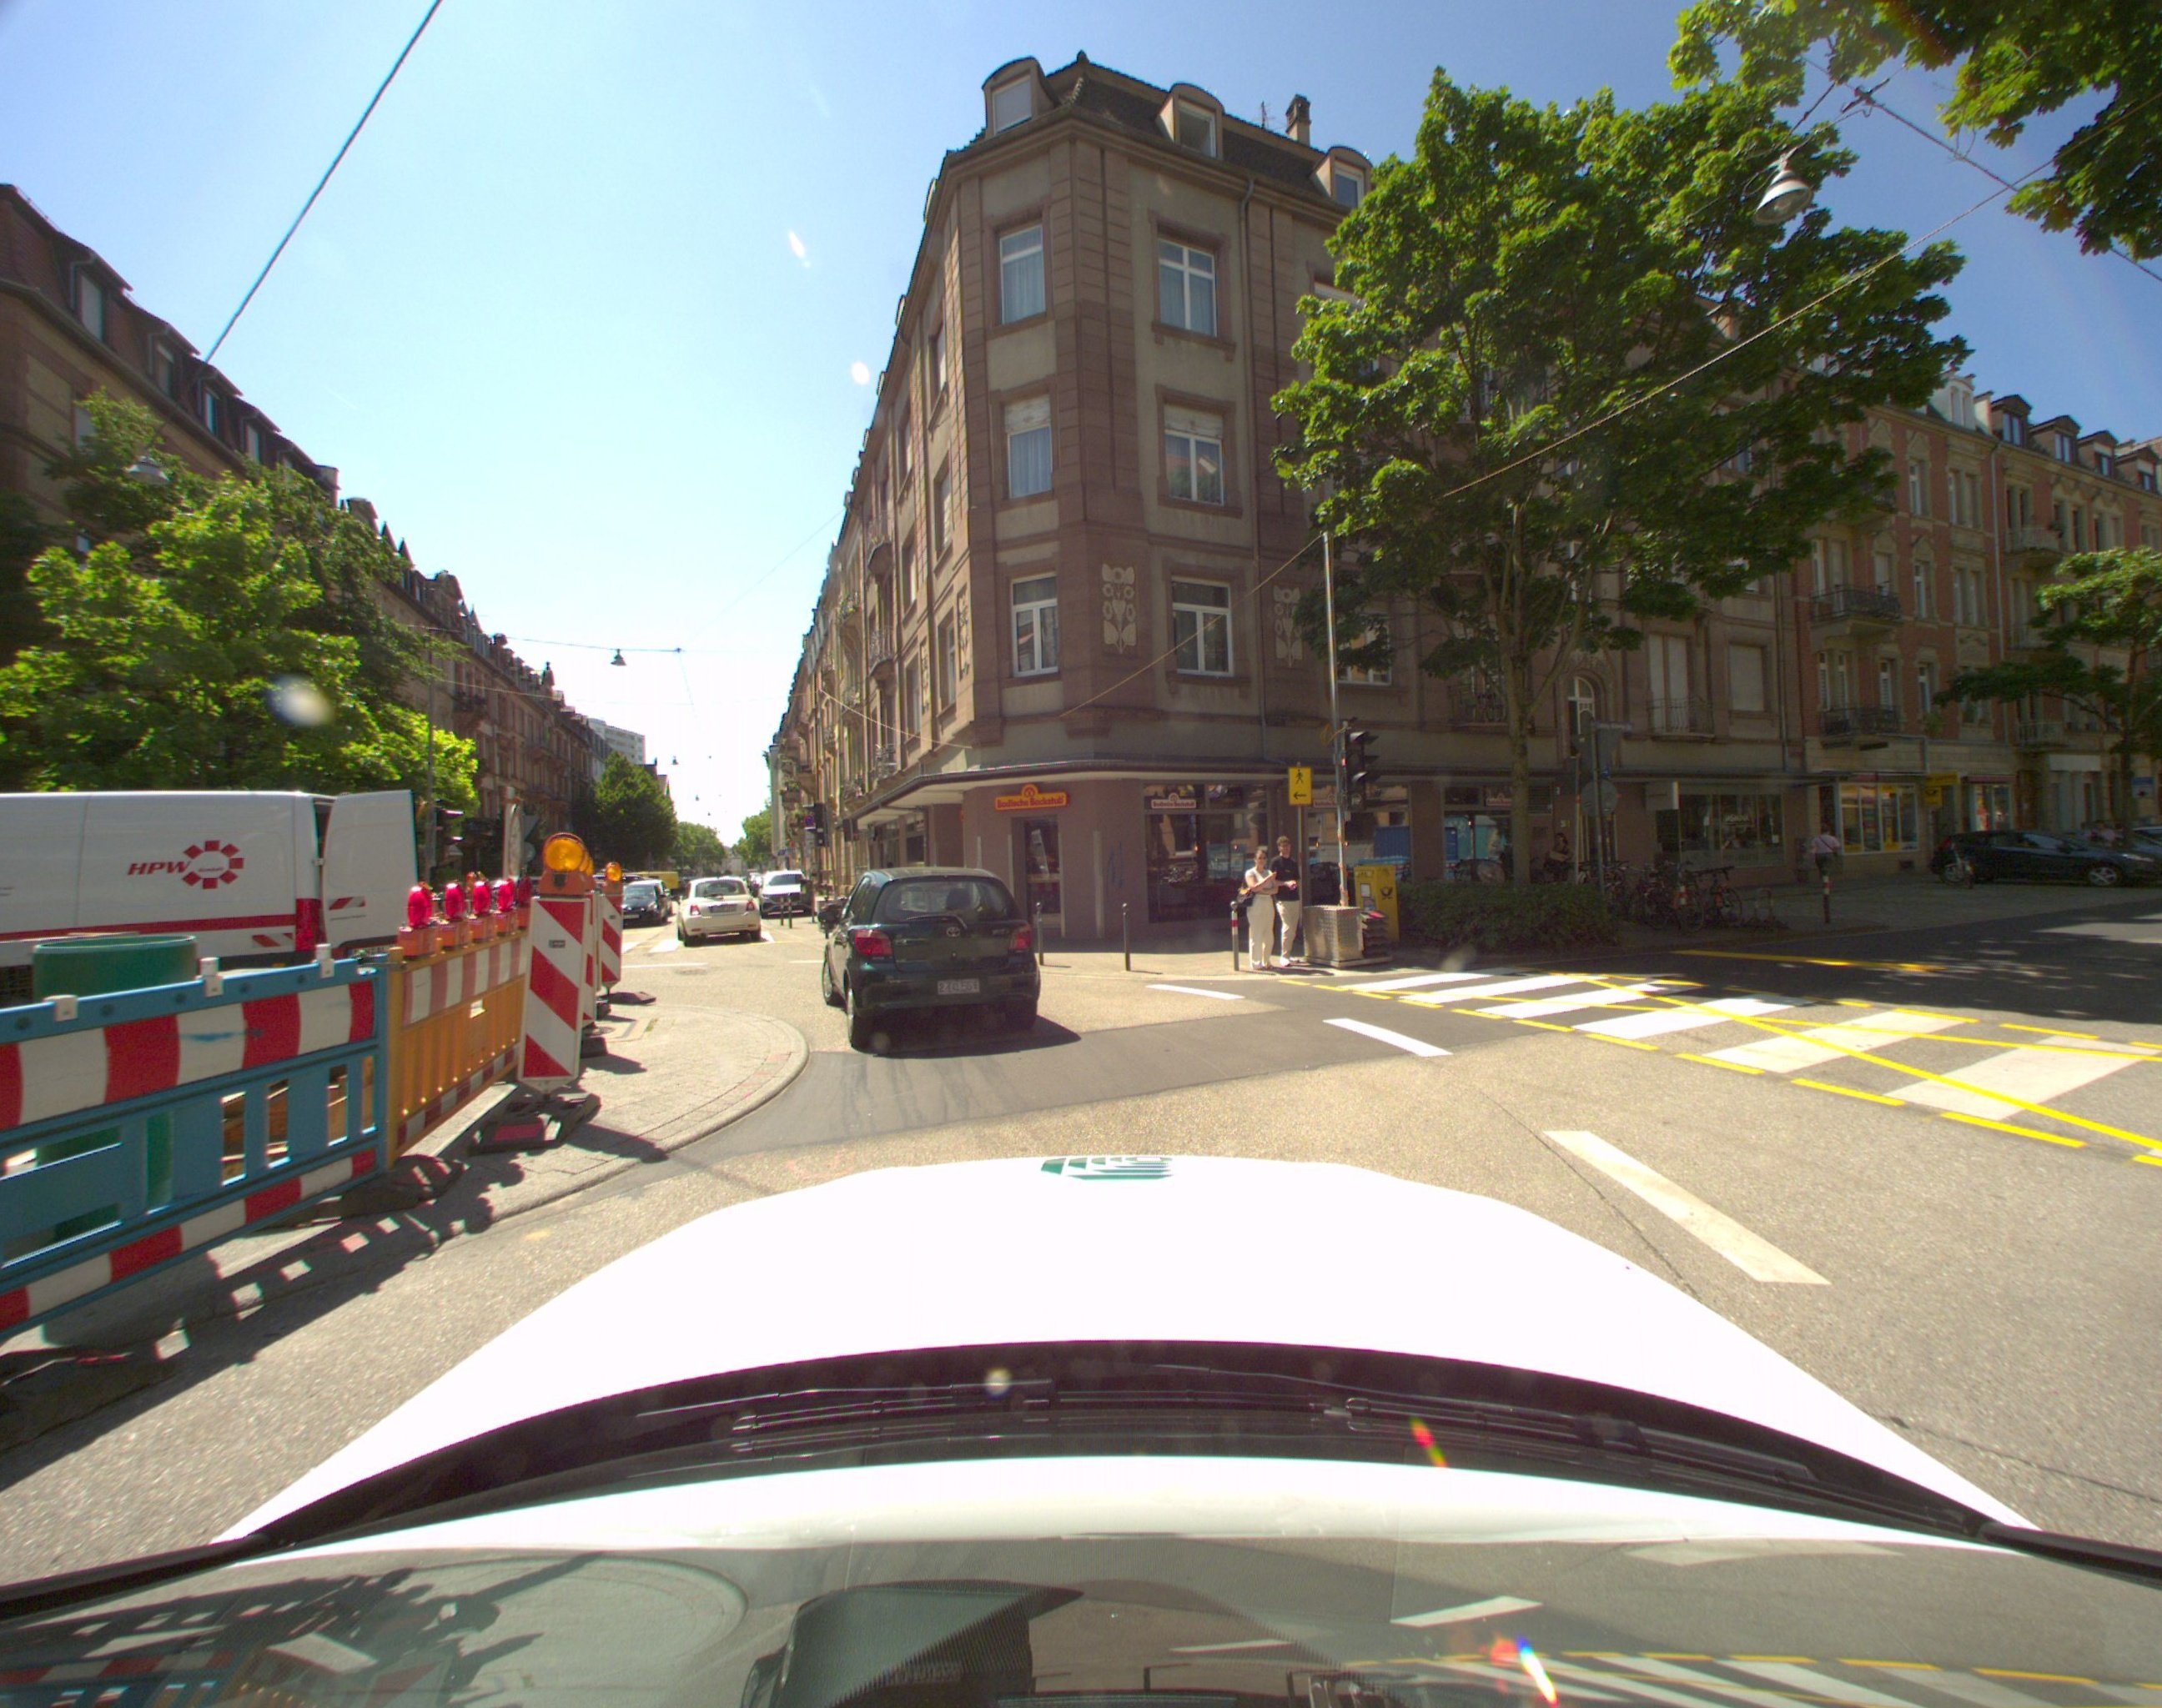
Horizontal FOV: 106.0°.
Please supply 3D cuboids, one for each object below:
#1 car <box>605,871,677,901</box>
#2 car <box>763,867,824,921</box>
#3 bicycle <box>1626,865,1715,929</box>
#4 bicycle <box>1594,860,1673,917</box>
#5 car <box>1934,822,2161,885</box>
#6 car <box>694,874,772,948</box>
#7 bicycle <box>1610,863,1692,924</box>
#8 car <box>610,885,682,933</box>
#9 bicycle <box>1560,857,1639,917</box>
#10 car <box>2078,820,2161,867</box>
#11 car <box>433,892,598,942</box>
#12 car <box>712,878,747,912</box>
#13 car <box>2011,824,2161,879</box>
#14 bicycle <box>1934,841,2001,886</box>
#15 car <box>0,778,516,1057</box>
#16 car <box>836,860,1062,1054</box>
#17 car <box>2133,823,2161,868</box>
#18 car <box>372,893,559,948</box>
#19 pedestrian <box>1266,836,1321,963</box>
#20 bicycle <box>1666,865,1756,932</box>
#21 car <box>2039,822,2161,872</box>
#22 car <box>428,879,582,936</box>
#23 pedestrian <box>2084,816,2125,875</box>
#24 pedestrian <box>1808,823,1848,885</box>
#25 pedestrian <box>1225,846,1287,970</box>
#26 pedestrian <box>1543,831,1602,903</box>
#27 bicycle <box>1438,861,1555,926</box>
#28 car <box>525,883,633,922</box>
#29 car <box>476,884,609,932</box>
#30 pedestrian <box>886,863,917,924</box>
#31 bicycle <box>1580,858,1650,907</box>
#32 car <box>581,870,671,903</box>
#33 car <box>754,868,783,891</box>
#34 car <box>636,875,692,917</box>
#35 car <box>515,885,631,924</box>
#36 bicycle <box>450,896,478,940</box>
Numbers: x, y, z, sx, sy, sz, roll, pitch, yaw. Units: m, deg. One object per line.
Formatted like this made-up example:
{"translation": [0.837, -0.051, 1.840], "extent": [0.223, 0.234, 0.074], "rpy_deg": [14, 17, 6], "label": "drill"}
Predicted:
{"translation": [-35.206, 2.566, 65.218], "extent": [1.974, 2.187, 4.601], "rpy_deg": [-3, -1, 41], "label": "car"}
{"translation": [-10.669, 1.417, 30.063], "extent": [1.879, 1.713, 4.470], "rpy_deg": [-3, 0, -22], "label": "car"}
{"translation": [10.194, 0.717, 14.067], "extent": [1.769, 0.996, 0.466], "rpy_deg": [-2, 1, -27], "label": "bicycle"}
{"translation": [10.694, 0.646, 15.746], "extent": [1.769, 0.996, 0.466], "rpy_deg": [-2, 1, -27], "label": "bicycle"}
{"translation": [24.797, -0.017, 20.777], "extent": [1.796, 1.438, 3.822], "rpy_deg": [-2, 0, -25], "label": "car"}
{"translation": [-8.255, 1.276, 19.292], "extent": [1.530, 1.521, 3.237], "rpy_deg": [-2, -1, -24], "label": "car"}
{"translation": [10.371, 0.698, 14.804], "extent": [1.693, 1.005, 0.466], "rpy_deg": [-2, 1, -27], "label": "bicycle"}
{"translation": [-15.347, 1.901, 28.916], "extent": [1.762, 1.444, 3.970], "rpy_deg": [-2, -1, -22], "label": "car"}
{"translation": [10.326, 0.631, 16.208], "extent": [1.769, 1.080, 0.466], "rpy_deg": [-2, 1, -27], "label": "bicycle"}
{"translation": [34.012, -0.345, 25.092], "extent": [1.796, 1.438, 3.822], "rpy_deg": [-2, 0, -25], "label": "car"}
{"translation": [-18.444, 1.994, 26.721], "extent": [1.946, 1.412, 4.025], "rpy_deg": [-2, -2, 36], "label": "car"}
{"translation": [-18.090, 2.089, 41.883], "extent": [1.529, 1.592, 3.237], "rpy_deg": [-2, -1, -24], "label": "car"}
{"translation": [29.284, -0.082, 22.863], "extent": [1.796, 1.438, 3.822], "rpy_deg": [-2, 0, -25], "label": "car"}
{"translation": [22.004, 0.221, 20.242], "extent": [0.537, 1.046, 1.950], "rpy_deg": [-3, -1, 30], "label": "bicycle"}
{"translation": [-10.762, 0.659, 9.297], "extent": [6.647, 2.752, 2.362], "rpy_deg": [0, -2, -22], "label": "car"}
{"translation": [-1.498, 0.851, 8.186], "extent": [1.619, 1.485, 3.218], "rpy_deg": [-1, -1, -21], "label": "car"}
{"translation": [36.461, -0.317, 25.609], "extent": [1.796, 1.438, 3.822], "rpy_deg": [-2, 0, -25], "label": "car"}
{"translation": [-18.009, 1.885, 23.980], "extent": [1.974, 1.376, 4.025], "rpy_deg": [-2, -2, 39], "label": "car"}
{"translation": [3.103, 0.639, 11.886], "extent": [0.579, 1.768, 0.467], "rpy_deg": [-4, 3, -31], "label": "pedestrian"}
{"translation": [10.528, 0.723, 13.593], "extent": [1.769, 0.996, 0.466], "rpy_deg": [-2, 1, -27], "label": "bicycle"}
{"translation": [31.933, -0.230, 24.412], "extent": [1.796, 1.438, 3.822], "rpy_deg": [-2, 0, -25], "label": "car"}
{"translation": [-19.949, 1.792, 28.345], "extent": [1.746, 1.804, 4.025], "rpy_deg": [-2, -2, 38], "label": "car"}
{"translation": [27.791, -0.220, 22.108], "extent": [0.479, 1.583, 0.539], "rpy_deg": [-2, -1, -24], "label": "pedestrian"}
{"translation": [19.979, -0.007, 21.776], "extent": [0.492, 1.614, 0.556], "rpy_deg": [-2, -1, -18], "label": "pedestrian"}
{"translation": [2.469, 0.741, 11.473], "extent": [0.706, 1.645, 0.419], "rpy_deg": [-4, 3, -31], "label": "pedestrian"}
{"translation": [11.550, 0.310, 19.156], "extent": [0.860, 1.634, 0.781], "rpy_deg": [-2, -1, -23], "label": "pedestrian"}
{"translation": [7.867, 0.735, 15.450], "extent": [1.977, 1.132, 0.515], "rpy_deg": [-2, -1, -5], "label": "bicycle"}
{"translation": [-23.867, 2.282, 38.871], "extent": [1.842, 1.619, 3.946], "rpy_deg": [-2, -1, 27], "label": "car"}
{"translation": [-20.711, 2.024, 31.423], "extent": [1.738, 1.658, 4.023], "rpy_deg": [-2, -2, 44], "label": "car"}
{"translation": [-4.923, 1.065, 22.296], "extent": [0.644, 1.623, 0.798], "rpy_deg": [-2, -1, -22], "label": "pedestrian"}
{"translation": [11.969, 0.615, 18.233], "extent": [1.733, 0.996, 0.500], "rpy_deg": [-2, 1, -27], "label": "bicycle"}
{"translation": [-30.487, 2.136, 54.693], "extent": [2.027, 1.994, 4.819], "rpy_deg": [-3, -1, 39], "label": "car"}
{"translation": [-21.565, 1.764, 56.060], "extent": [1.762, 1.429, 3.970], "rpy_deg": [-2, -1, -22], "label": "car"}
{"translation": [-19.017, 1.879, 37.317], "extent": [1.762, 1.645, 4.345], "rpy_deg": [-5, 0, -22], "label": "car"}
{"translation": [-22.448, 2.213, 36.146], "extent": [1.842, 1.470, 3.946], "rpy_deg": [-2, -1, 27], "label": "car"}
{"translation": [-16.133, 1.649, 21.318], "extent": [0.494, 1.081, 1.878], "rpy_deg": [1, -2, -35], "label": "bicycle"}
